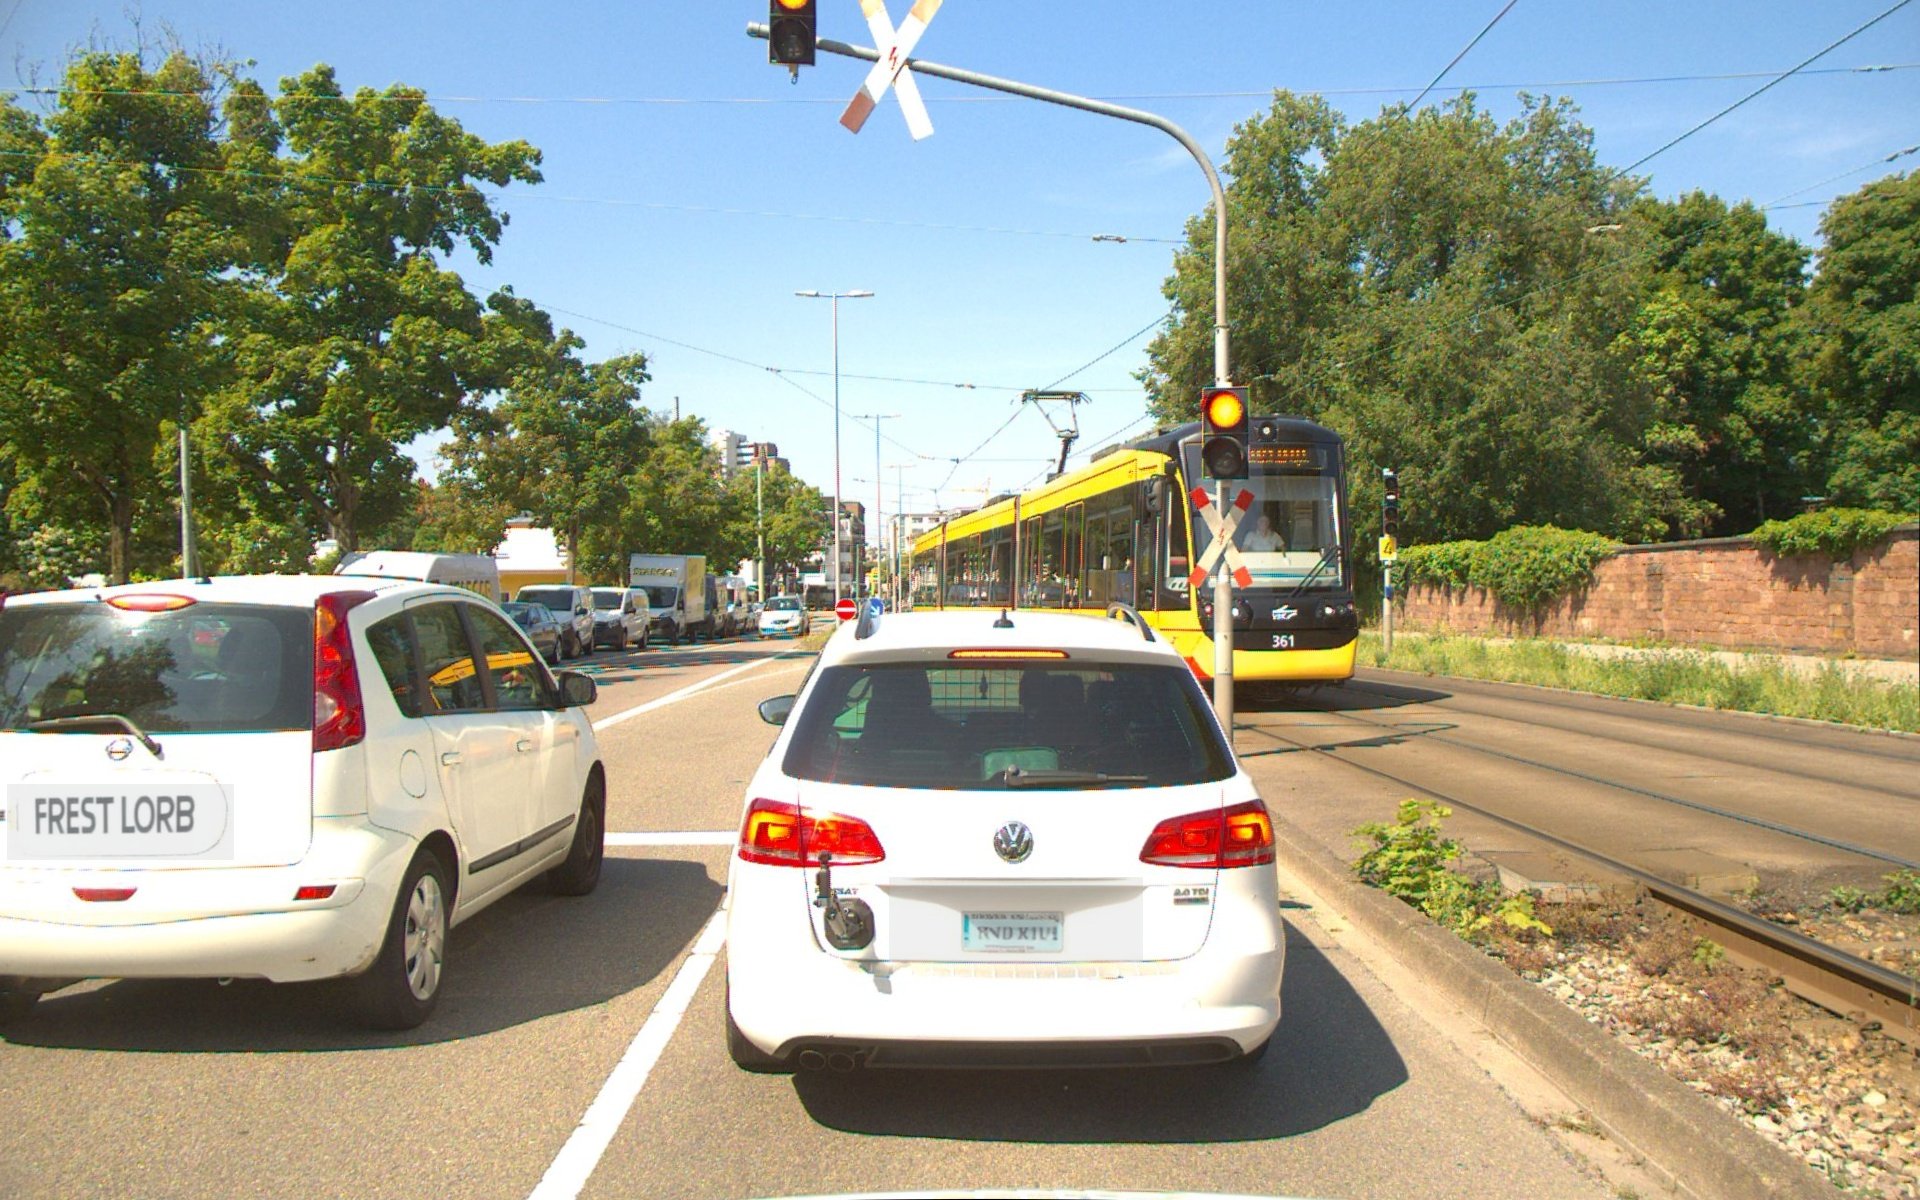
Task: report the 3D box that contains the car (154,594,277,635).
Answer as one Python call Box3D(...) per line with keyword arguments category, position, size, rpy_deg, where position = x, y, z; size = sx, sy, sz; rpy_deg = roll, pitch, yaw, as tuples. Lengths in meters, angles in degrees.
Box3D(category="car", position=(-34.382, 0.664, 76.492), size=(4.698, 1.819, 2.062), rpy_deg=(1, 0, -5))

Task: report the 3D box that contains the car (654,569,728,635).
Box3D(category="car", position=(-11.016, 0.061, 68.148), size=(2.079, 2.560, 5.733), rpy_deg=(1, 0, 0))

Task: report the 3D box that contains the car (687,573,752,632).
Box3D(category="car", position=(-10.929, 0.096, 75.586), size=(2.079, 2.560, 5.733), rpy_deg=(1, 0, 0))

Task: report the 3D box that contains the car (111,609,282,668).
Box3D(category="car", position=(-21.233, 1.052, 46.118), size=(3.909, 1.440, 1.728), rpy_deg=(-2, 0, -5))

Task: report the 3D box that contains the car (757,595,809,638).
Box3D(category="car", position=(-6.925, 0.620, 64.922), size=(1.642, 1.580, 3.579), rpy_deg=(-3, 0, -1))

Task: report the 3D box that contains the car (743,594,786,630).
Box3D(category="car", position=(-10.768, 0.644, 91.510), size=(1.826, 1.900, 5.412), rpy_deg=(1, 0, -1))

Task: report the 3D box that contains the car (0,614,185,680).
Box3D(category="car", position=(-21.727, 1.165, 41.244), size=(3.909, 1.440, 1.728), rpy_deg=(-2, 0, -5))

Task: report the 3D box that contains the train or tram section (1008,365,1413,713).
Box3D(category="train or tram section", position=(3.055, -0.738, 25.013), size=(2.816, 3.923, 12.373), rpy_deg=(-1, 0, -7))

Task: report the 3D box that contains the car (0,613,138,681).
Box3D(category="car", position=(-21.622, 1.113, 38.636), size=(3.909, 1.440, 1.728), rpy_deg=(-2, 0, -5))

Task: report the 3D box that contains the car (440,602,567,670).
Box3D(category="car", position=(-10.559, 0.799, 38.573), size=(1.826, 1.440, 4.278), rpy_deg=(1, 0, -1))

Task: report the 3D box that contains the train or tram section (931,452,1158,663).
Box3D(category="train or tram section", position=(1.501, -0.831, 37.311), size=(2.817, 3.923, 12.369), rpy_deg=(-1, 0, -8))

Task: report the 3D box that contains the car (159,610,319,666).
Box3D(category="car", position=(-21.282, 1.100, 48.930), size=(3.909, 1.440, 1.728), rpy_deg=(-2, 0, -5))

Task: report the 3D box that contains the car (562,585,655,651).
Box3D(category="car", position=(-10.910, 0.527, 51.728), size=(1.826, 1.900, 5.412), rpy_deg=(1, 0, -1))

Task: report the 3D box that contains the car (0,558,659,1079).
Box3D(category="car", position=(-2.560, 0.649, 7.279), size=(1.628, 1.575, 4.546), rpy_deg=(0, 0, 0))

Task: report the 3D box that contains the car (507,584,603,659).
Box3D(category="car", position=(-10.983, 0.529, 45.142), size=(1.828, 1.900, 5.068), rpy_deg=(1, 0, -6))

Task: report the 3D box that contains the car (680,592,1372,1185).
Box3D(category="car", position=(0.143, 0.716, 6.190), size=(1.726, 1.455, 3.999), rpy_deg=(-1, 0, -1))

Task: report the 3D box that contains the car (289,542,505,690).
Box3D(category="car", position=(-10.750, 0.273, 32.130), size=(2.079, 2.560, 5.817), rpy_deg=(1, 0, 1))

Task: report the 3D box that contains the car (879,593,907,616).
Box3D(category="car", position=(-4.537, 0.281, 112.345), size=(1.670, 1.499, 4.589), rpy_deg=(-1, 0, 0))

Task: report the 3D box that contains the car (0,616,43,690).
Box3D(category="car", position=(-20.737, 1.120, 32.925), size=(3.909, 1.440, 1.728), rpy_deg=(-2, 0, -5))

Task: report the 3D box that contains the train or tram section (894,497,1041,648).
Box3D(category="train or tram section", position=(-0.006, -0.748, 48.671), size=(2.817, 3.923, 10.519), rpy_deg=(-1, 0, -8))

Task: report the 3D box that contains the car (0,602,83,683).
Box3D(category="car", position=(-21.081, 0.960, 35.119), size=(3.909, 1.638, 1.728), rpy_deg=(-2, 0, -5))

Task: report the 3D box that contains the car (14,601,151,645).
Box3D(category="car", position=(-37.819, 0.980, 71.377), size=(4.698, 1.819, 2.062), rpy_deg=(1, 0, -5))

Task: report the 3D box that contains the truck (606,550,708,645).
Box3D(category="truck", position=(-10.918, -0.115, 60.151), size=(2.371, 3.205, 6.996), rpy_deg=(1, 0, 0))

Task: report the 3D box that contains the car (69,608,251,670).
Box3D(category="car", position=(-21.115, 1.022, 43.784), size=(3.909, 1.440, 1.728), rpy_deg=(-2, 0, -5))
